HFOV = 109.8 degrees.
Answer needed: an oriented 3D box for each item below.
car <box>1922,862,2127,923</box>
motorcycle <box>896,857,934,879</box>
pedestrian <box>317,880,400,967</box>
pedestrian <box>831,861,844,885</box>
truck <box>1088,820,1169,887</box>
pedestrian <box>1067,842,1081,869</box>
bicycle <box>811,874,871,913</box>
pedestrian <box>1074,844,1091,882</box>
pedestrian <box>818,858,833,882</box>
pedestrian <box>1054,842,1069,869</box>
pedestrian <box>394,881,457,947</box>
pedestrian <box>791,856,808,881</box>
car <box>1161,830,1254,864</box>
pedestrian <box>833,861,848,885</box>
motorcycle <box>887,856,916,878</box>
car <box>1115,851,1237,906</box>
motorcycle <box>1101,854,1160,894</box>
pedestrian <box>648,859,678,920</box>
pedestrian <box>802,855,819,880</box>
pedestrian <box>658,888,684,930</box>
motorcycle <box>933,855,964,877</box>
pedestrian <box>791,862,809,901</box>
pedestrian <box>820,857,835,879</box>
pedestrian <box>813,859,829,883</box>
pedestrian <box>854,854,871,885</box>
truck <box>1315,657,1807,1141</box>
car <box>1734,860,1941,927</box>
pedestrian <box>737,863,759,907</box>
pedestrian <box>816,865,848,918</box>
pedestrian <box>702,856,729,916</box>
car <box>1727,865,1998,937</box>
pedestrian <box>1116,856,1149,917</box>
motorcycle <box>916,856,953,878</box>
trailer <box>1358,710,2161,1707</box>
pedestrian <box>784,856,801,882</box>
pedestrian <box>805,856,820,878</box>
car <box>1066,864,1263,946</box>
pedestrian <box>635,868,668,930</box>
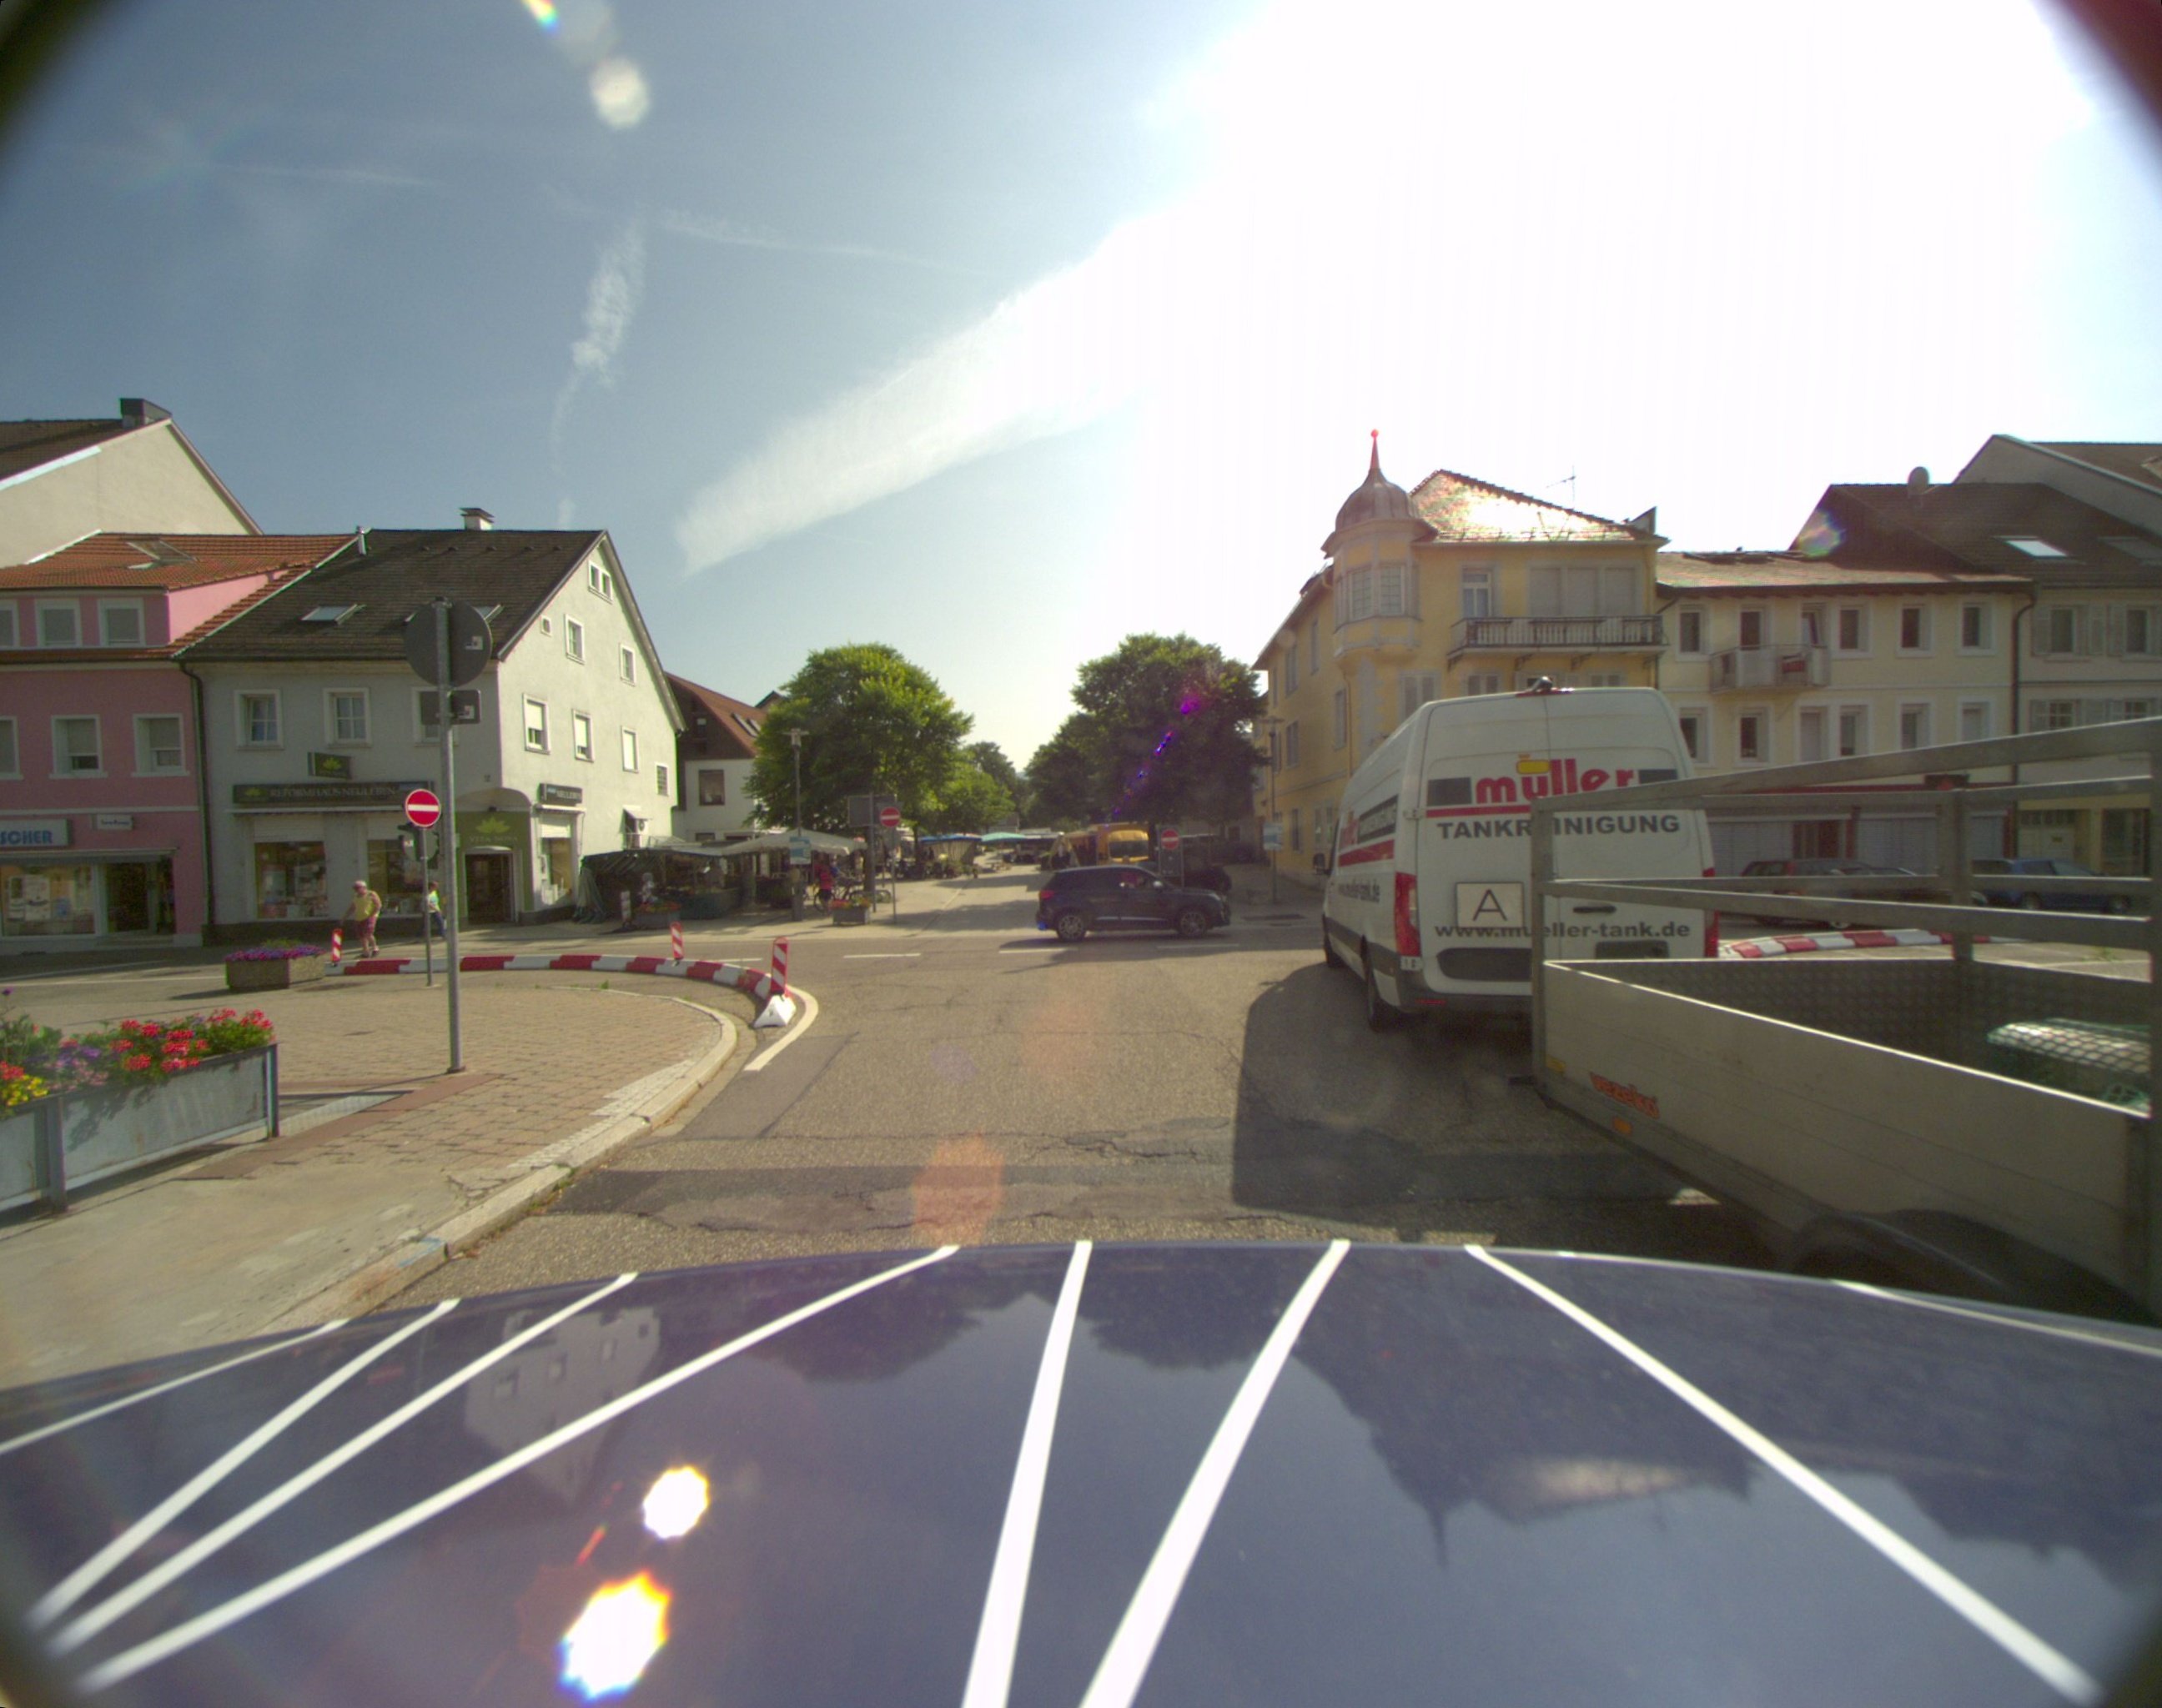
[{"bbox_3d":[24.391,0.961,19.722,3.274,1.439,1.752,-1,0,-3],"label":"car"},{"bbox_3d":[-9.375,0.772,42.884,2.002,1.189,0.644,2,2,12],"label":"motorcycle"},{"bbox_3d":[-16.277,1.540,17.155,0.908,1.805,1.019,-2,3,-15],"label":"pedestrian"},{"bbox_3d":[-12.442,0.954,38.875,0.572,1.194,0.650,1,2,-12],"label":"pedestrian"},{"bbox_3d":[2.038,-0.165,36.451,3.009,2.743,8.857,-2,2,-1],"label":"truck"},{"bbox_3d":[-0.423,0.091,48.040,0.682,1.672,0.582,-4,3,-18],"label":"pedestrian"},{"bbox_3d":[-8.108,1.336,25.756,1.863,1.228,0.616,-2,1,-14],"label":"bicycle"},{"bbox_3d":[0.063,0.428,37.136,0.681,1.777,0.726,-3,2,-4],"label":"pedestrian"},{"bbox_3d":[-13.484,0.850,40.170,0.572,1.194,0.650,1,2,0],"label":"pedestrian"},{"bbox_3d":[-1.239,0.116,48.060,0.682,1.672,0.582,-4,1,-17],"label":"pedestrian"},{"bbox_3d":[-17.255,1.564,20.020,0.858,1.623,0.788,-2,4,0],"label":"pedestrian"},{"bbox_3d":[-14.832,0.758,40.019,0.626,1.323,0.699,1,2,2],"label":"pedestrian"},{"bbox_3d":[7.471,-0.437,44.993,5.071,1.880,1.999,-1,1,-6],"label":"car"},{"bbox_3d":[-12.002,0.954,37.930,0.700,1.194,0.571,1,2,-15],"label":"pedestrian"},{"bbox_3d":[-10.382,0.752,43.927,1.532,1.189,0.643,1,1,-2],"label":"motorcycle"},{"bbox_3d":[3.296,0.772,26.057,3.965,1.534,1.918,-4,3,-40],"label":"car"},{"bbox_3d":[1.867,0.735,28.793,2.086,1.353,0.888,-3,1,-3],"label":"motorcycle"},{"bbox_3d":[-13.891,1.161,25.252,0.709,1.959,0.507,-2,1,-43],"label":"pedestrian"},{"bbox_3d":[-14.604,0.728,41.079,0.626,1.323,0.699,1,2,2],"label":"pedestrian"},{"bbox_3d":[-11.734,1.567,21.749,0.623,1.153,0.515,-1,1,-29],"label":"pedestrian"},{"bbox_3d":[-7.740,0.707,44.423,1.999,1.189,0.645,2,1,40],"label":"motorcycle"},{"bbox_3d":[-11.160,1.069,30.231,0.622,1.509,0.632,-1,1,-19],"label":"pedestrian"},{"bbox_3d":[-14.086,0.783,42.234,0.572,1.194,0.650,1,2,0],"label":"pedestrian"},{"bbox_3d":[-13.501,0.865,39.435,0.572,1.194,0.650,1,2,0],"label":"pedestrian"},{"bbox_3d":[-11.176,0.790,38.850,0.698,1.545,0.572,1,2,5],"label":"pedestrian"},{"bbox_3d":[3.795,0.327,7.922,2.108,2.682,7.142,-1,-1,13],"label":"truck"},{"bbox_3d":[19.293,0.960,19.489,3.566,1.559,1.852,-1,0,-3],"label":"car"},{"bbox_3d":[-12.386,1.149,28.254,0.522,1.617,0.707,-1,1,-6],"label":"pedestrian"},{"bbox_3d":[-8.010,1.200,24.439,0.883,1.649,0.571,1,2,-9],"label":"pedestrian"},{"bbox_3d":[-12.197,1.059,25.376,0.708,1.973,0.651,-1,1,-22],"label":"pedestrian"},{"bbox_3d":[16.920,0.984,16.592,4.197,1.348,1.756,-2,0,-2],"label":"car"},{"bbox_3d":[1.511,0.930,22.145,0.678,1.705,0.618,-1,2,34],"label":"pedestrian"},{"bbox_3d":[-8.379,0.757,43.477,2.002,1.189,0.644,2,1,12],"label":"motorcycle"},{"bbox_3d":[2.910,0.687,1.730,2.617,1.817,5.638,-1,0,1],"label":"trailer"},{"bbox_3d":[-14.840,0.767,39.094,0.626,1.323,0.699,1,2,2],"label":"pedestrian"},{"bbox_3d":[-14.842,0.708,42.046,0.572,1.194,0.650,1,2,0],"label":"pedestrian"},{"bbox_3d":[1.730,1.066,16.361,3.967,1.551,1.685,-2,-1,2],"label":"car"},{"bbox_3d":[-12.510,1.291,22.149,0.789,1.714,0.706,-1,1,-28],"label":"pedestrian"}]
